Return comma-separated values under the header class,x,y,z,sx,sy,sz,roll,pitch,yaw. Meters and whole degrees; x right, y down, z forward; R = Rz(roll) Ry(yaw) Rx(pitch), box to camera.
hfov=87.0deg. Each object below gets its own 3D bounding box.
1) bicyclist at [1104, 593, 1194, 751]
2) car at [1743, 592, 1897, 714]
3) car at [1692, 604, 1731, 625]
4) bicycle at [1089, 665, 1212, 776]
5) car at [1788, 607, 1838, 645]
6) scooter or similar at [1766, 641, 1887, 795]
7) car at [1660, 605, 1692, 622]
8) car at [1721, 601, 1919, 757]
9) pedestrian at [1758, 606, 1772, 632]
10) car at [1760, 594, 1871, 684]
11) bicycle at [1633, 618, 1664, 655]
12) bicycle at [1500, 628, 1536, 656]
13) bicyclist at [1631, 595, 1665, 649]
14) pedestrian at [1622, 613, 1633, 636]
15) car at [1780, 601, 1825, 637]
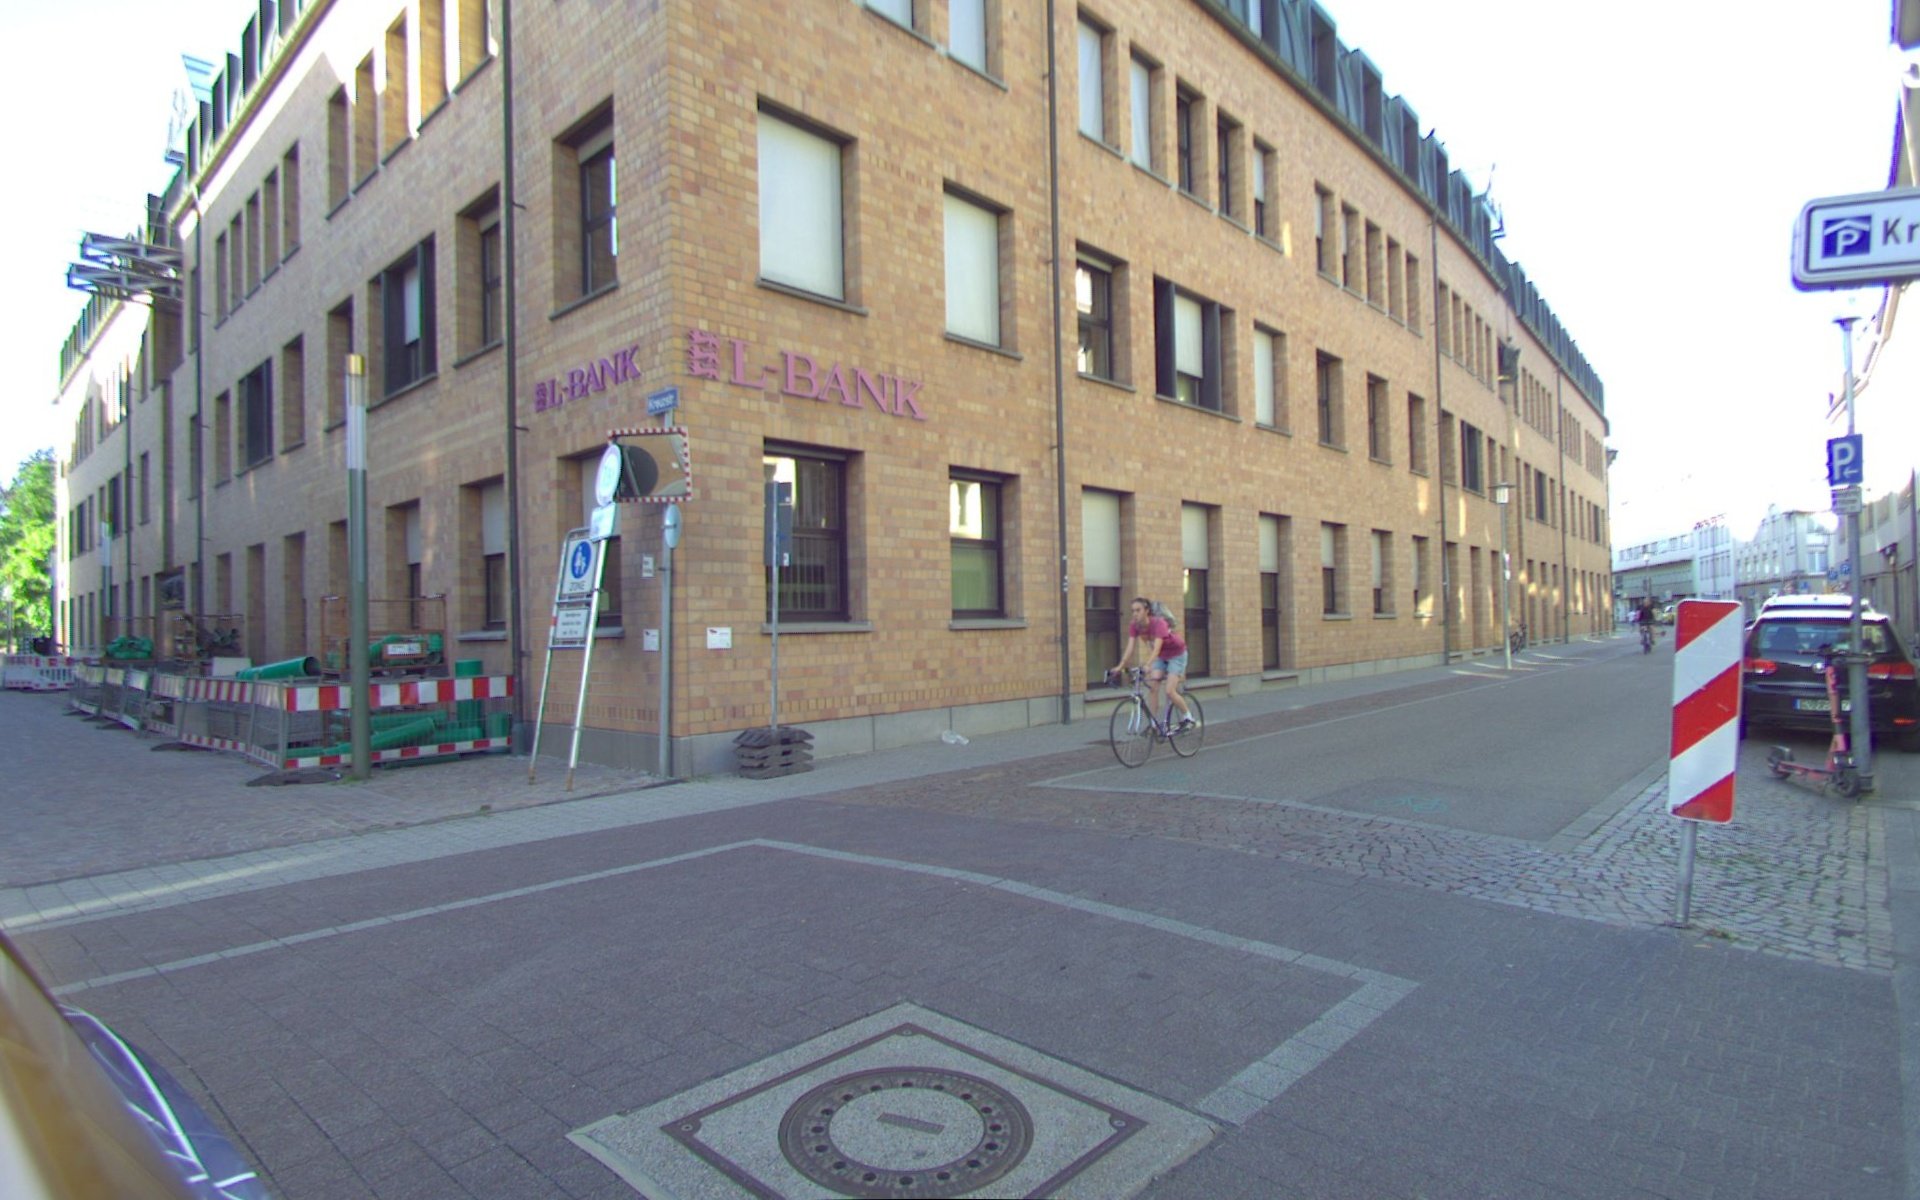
class,x,y,z,sx,sy,sz,roll,pitch,yaw
bicyclist,1.903,0.709,10.168,0.428,1.509,0.863,-5,-4,42
car,13.560,0.737,15.958,1.673,1.674,4.024,0,0,41
car,61.365,1.207,82.718,1.926,1.663,3.800,-2,-2,28
bicycle,1.943,1.175,10.188,0.436,0.964,1.568,-3,-2,42
car,39.287,1.167,46.648,1.692,1.692,3.461,0,0,39
scooter or similar,7.154,0.943,8.389,0.205,1.193,0.882,-1,-2,1
car,68.717,1.299,97.183,1.926,1.663,3.800,-1,-1,28
car,10.134,0.777,11.794,1.740,1.497,3.759,0,0,41
pedestrian,48.067,1.140,60.416,0.570,1.490,0.468,-2,-2,35
car,18.170,0.761,21.464,1.673,1.717,3.957,0,0,41
bicycle,22.240,1.163,32.669,0.703,1.112,1.806,-6,-5,35
bicycle,18.983,1.419,34.385,0.642,0.888,2.523,-1,-1,39
bicyclist,22.243,0.716,32.733,0.771,1.668,0.946,-5,-4,34
pedestrian,45.976,1.669,69.727,0.543,1.556,0.399,-1,-1,41
car,42.784,0.950,51.426,1.692,1.789,3.607,0,0,39
